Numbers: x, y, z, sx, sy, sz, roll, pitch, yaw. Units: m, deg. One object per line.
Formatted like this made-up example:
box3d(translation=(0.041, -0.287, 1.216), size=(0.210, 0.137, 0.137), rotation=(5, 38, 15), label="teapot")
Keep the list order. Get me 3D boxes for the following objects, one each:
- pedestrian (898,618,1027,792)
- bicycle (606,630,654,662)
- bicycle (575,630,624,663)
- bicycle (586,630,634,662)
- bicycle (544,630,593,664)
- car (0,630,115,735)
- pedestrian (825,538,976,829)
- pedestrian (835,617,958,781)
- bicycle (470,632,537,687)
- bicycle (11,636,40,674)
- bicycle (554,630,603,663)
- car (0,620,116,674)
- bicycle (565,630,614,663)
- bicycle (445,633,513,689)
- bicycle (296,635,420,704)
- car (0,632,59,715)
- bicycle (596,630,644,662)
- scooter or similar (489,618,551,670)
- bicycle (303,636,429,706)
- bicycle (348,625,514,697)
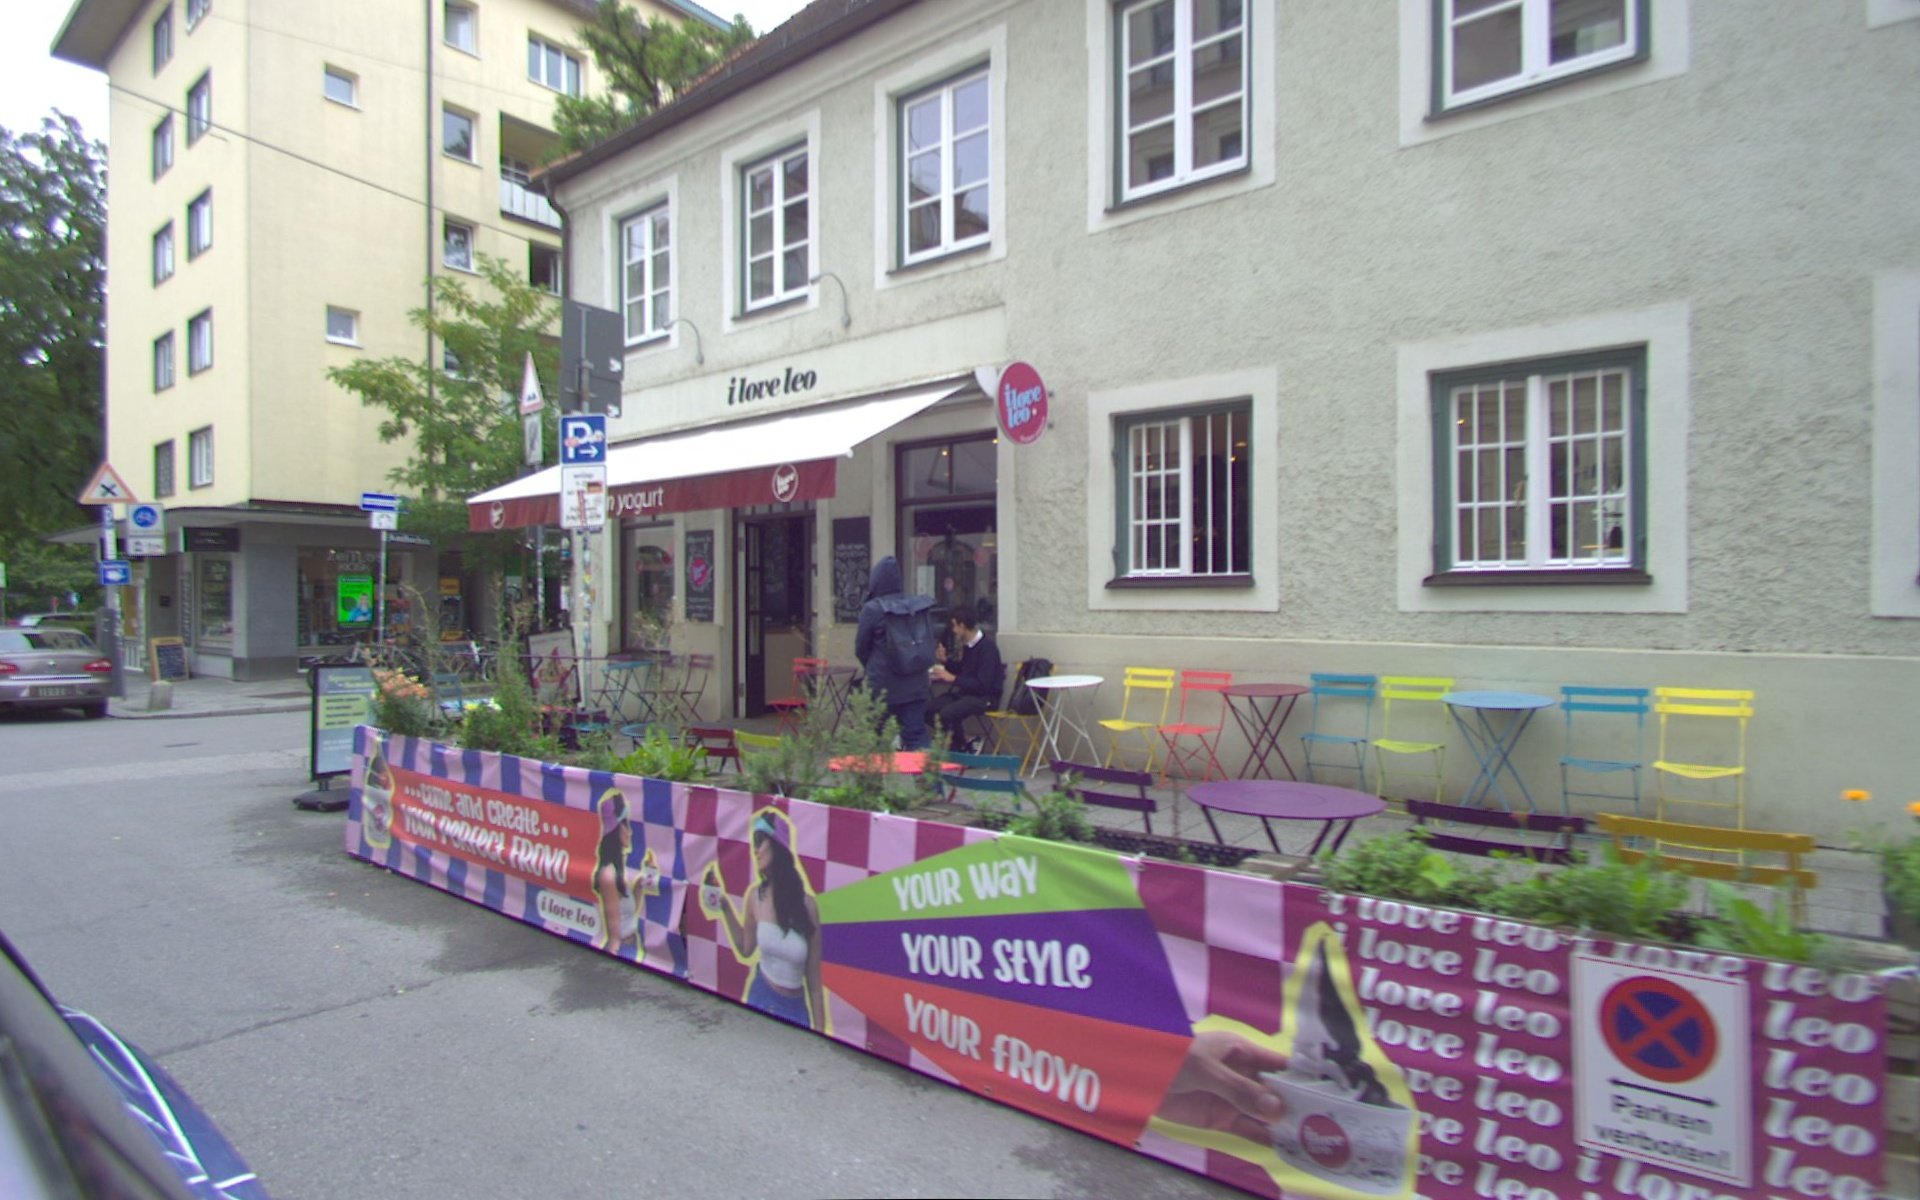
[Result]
box3d(translation=(0.028, 0.803, 8.180), size=(0.693, 1.300, 0.795), rotation=(0, -1, 39), label="pedestrian")
box3d(translation=(-8.771, 1.202, 26.843), size=(1.720, 0.786, 0.289), rotation=(0, 0, 38), label="bicycle")
box3d(translation=(-9.313, 1.182, 26.132), size=(1.720, 0.786, 0.289), rotation=(0, 0, 38), label="bicycle")
box3d(translation=(-9.132, 1.186, 26.374), size=(1.720, 0.786, 0.289), rotation=(0, 0, 38), label="bicycle")
box3d(translation=(-9.840, 1.164, 25.417), size=(1.720, 0.786, 0.289), rotation=(0, 0, 38), label="bicycle")
box3d(translation=(-15.324, 1.237, 16.204), size=(4.941, 1.482, 1.663), rotation=(-2, -2, 37), label="car")
box3d(translation=(-0.403, 0.516, 6.748), size=(0.876, 1.795, 0.523), rotation=(0, -1, 40), label="pedestrian")
box3d(translation=(-0.535, 0.799, 8.635), size=(0.693, 1.299, 0.795), rotation=(0, -1, 39), label="pedestrian")
box3d(translation=(-8.847, 1.132, 19.603), size=(1.713, 0.973, 0.376), rotation=(0, 1, 36), label="bicycle")
box3d(translation=(-31.827, 1.861, 34.450), size=(1.853, 1.219, 0.556), rotation=(-1, 0, 42), label="bicycle")
box3d(translation=(-9.680, 1.168, 25.640), size=(1.720, 0.786, 0.289), rotation=(0, 0, 38), label="bicycle")
box3d(translation=(-37.571, 1.877, 41.311), size=(1.925, 2.016, 4.384), rotation=(0, 0, 24), label="car")
box3d(translation=(-9.491, 1.183, 25.892), size=(1.720, 0.786, 0.289), rotation=(0, 0, 38), label="bicycle")
box3d(translation=(-9.133, 1.130, 19.203), size=(1.713, 0.973, 0.376), rotation=(0, 1, 36), label="bicycle")
box3d(translation=(-10.460, 1.184, 17.643), size=(0.392, 1.042, 1.799), rotation=(-3, 0, 42), label="bicycle")
box3d(translation=(-18.713, 1.351, 19.337), size=(4.094, 1.482, 1.662), rotation=(-2, -3, 40), label="car")
box3d(translation=(-8.955, 1.196, 26.607), size=(1.720, 0.786, 0.289), rotation=(0, 0, 38), label="bicycle")
box3d(translation=(-10.647, 1.052, 24.530), size=(0.985, 1.210, 1.204), rotation=(0, 0, -2), label="scooter or similar")
box3d(translation=(-10.161, 1.185, 17.372), size=(0.392, 1.042, 1.799), rotation=(-3, 0, 42), label="bicycle")
box3d(translation=(-10.503, 1.168, 20.212), size=(0.817, 1.220, 2.813), rotation=(0, 1, 42), label="bicycle")
